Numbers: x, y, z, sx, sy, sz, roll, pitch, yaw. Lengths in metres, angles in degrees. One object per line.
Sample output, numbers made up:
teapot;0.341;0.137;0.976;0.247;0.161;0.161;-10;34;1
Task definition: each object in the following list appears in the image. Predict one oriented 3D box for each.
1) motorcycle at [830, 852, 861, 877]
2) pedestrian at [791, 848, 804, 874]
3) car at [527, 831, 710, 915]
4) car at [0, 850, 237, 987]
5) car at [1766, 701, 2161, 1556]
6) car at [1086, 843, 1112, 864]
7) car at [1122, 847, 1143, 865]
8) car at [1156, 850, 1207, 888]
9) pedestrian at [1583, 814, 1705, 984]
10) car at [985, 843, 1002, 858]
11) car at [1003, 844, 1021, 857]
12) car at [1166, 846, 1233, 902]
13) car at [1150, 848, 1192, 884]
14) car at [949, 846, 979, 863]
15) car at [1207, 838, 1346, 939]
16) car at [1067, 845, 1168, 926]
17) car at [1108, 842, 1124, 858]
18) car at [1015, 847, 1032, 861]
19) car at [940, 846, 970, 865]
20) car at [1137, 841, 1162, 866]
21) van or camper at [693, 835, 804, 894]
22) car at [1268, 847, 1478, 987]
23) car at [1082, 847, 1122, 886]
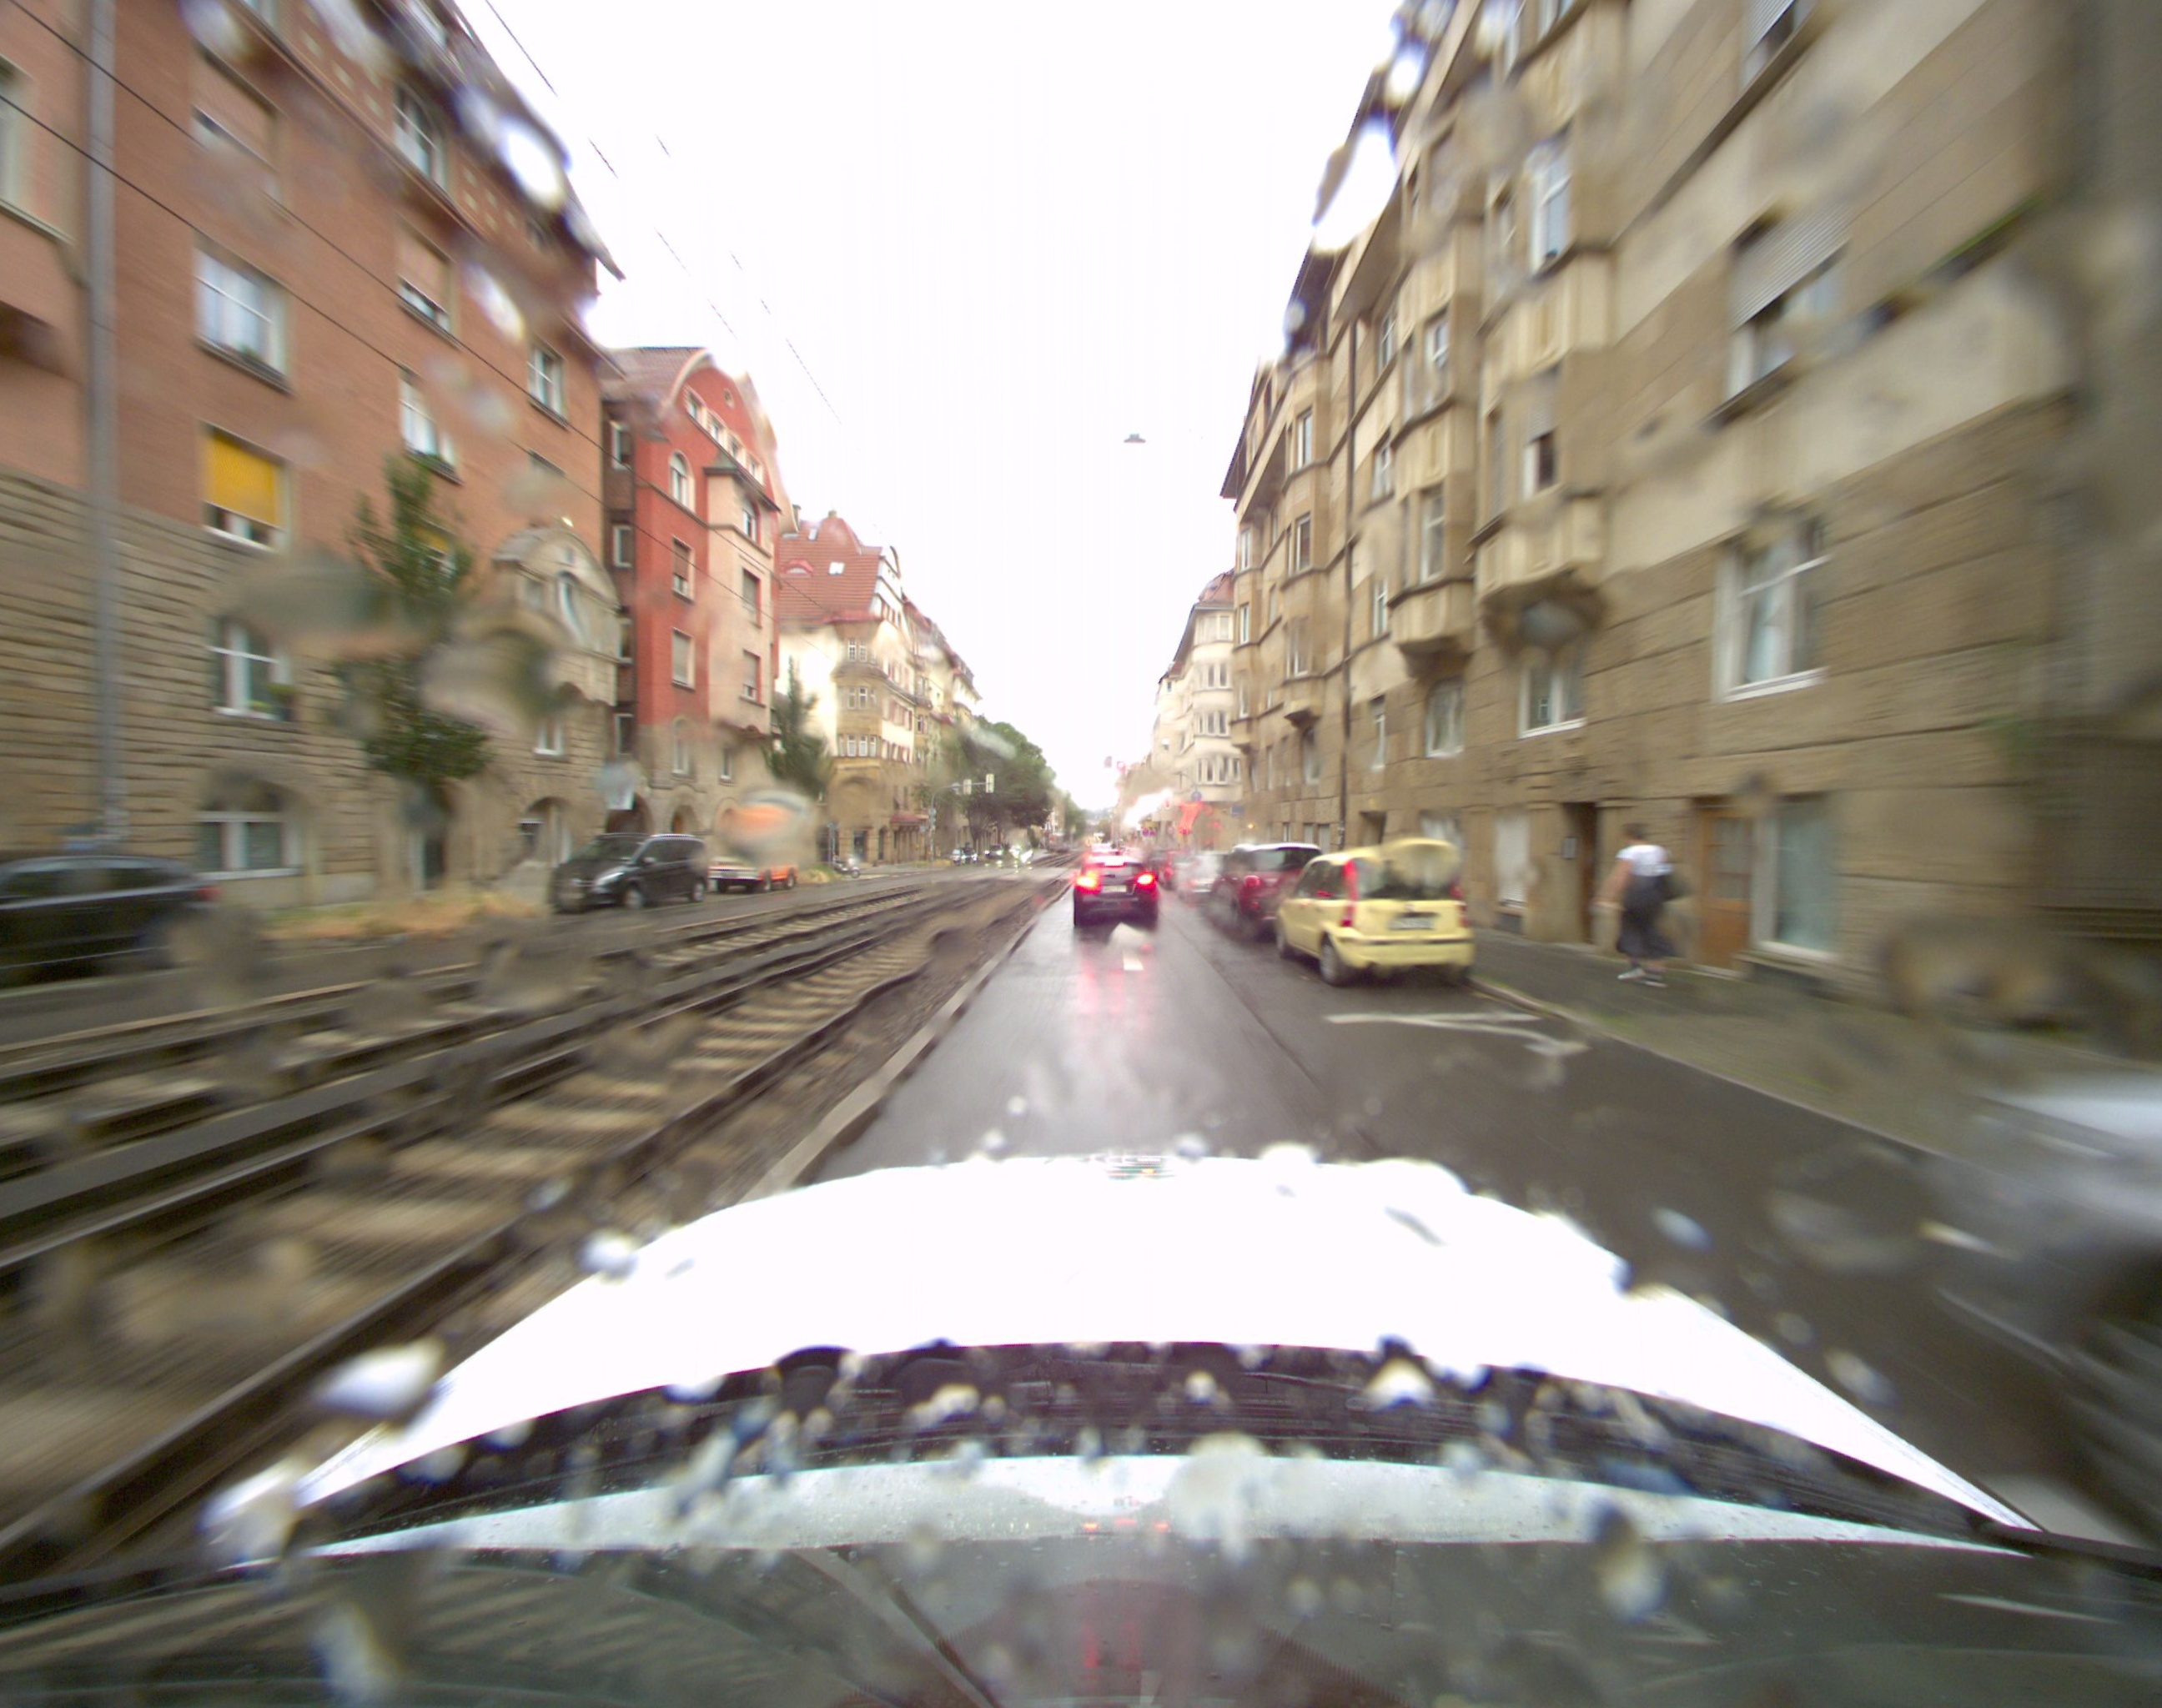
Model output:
motorcycle;-11.333;0.494;39.255;1.423;1.134;0.624;1;0;31
pedestrian;-19.013;0.465;54.589;0.605;1.733;0.643;0;0;2
car;-11.636;0.423;20.956;1.987;1.901;4.698;-1;0;0
car;-12.014;0.672;8.862;1.637;1.398;3.882;0;0;-1
car;3.084;0.573;0.494;1.768;1.776;4.362;-1;1;2
car;1.396;-0.055;65.305;1.916;1.655;3.998;0;1;-2
car;5.098;0.219;81.124;1.764;1.776;3.996;-1;-1;-2
car;3.896;0.551;31.962;1.597;1.419;3.148;0;1;0
pedestrian;5.964;0.460;8.662;0.859;1.733;0.609;-1;0;1
car;-10.087;-0.358;93.596;1.786;1.691;3.994;0;0;-4
car;-9.352;-0.460;111.038;1.986;1.794;4.002;1;0;2
car;3.499;0.559;24.556;1.631;1.543;3.467;0;0;2
car;4.041;0.514;36.975;1.543;1.508;4.002;1;0;2
car;-10.413;0.034;72.838;1.986;1.517;4.002;0;0;2
car;3.472;0.540;15.150;1.704;1.628;4.001;1;0;1
car;0.730;0.622;17.724;1.939;1.564;3.642;-1;0;0
car;3.942;-0.422;92.326;1.846;1.797;3.813;-1;-1;2
car;-6.634;-0.012;94.432;1.791;1.548;3.997;-3;0;-2
car;-10.407;0.122;67.513;1.765;1.464;4.002;-1;0;2
car;5.702;0.000;68.516;1.891;2.028;4.178;-1;-1;2
van or camper;-11.609;0.320;28.858;1.987;1.901;4.698;0;0;0
car;3.532;0.657;10.474;1.553;1.478;3.462;1;0;2
car;0.893;0.464;33.639;1.530;1.510;4.002;1;0;2
